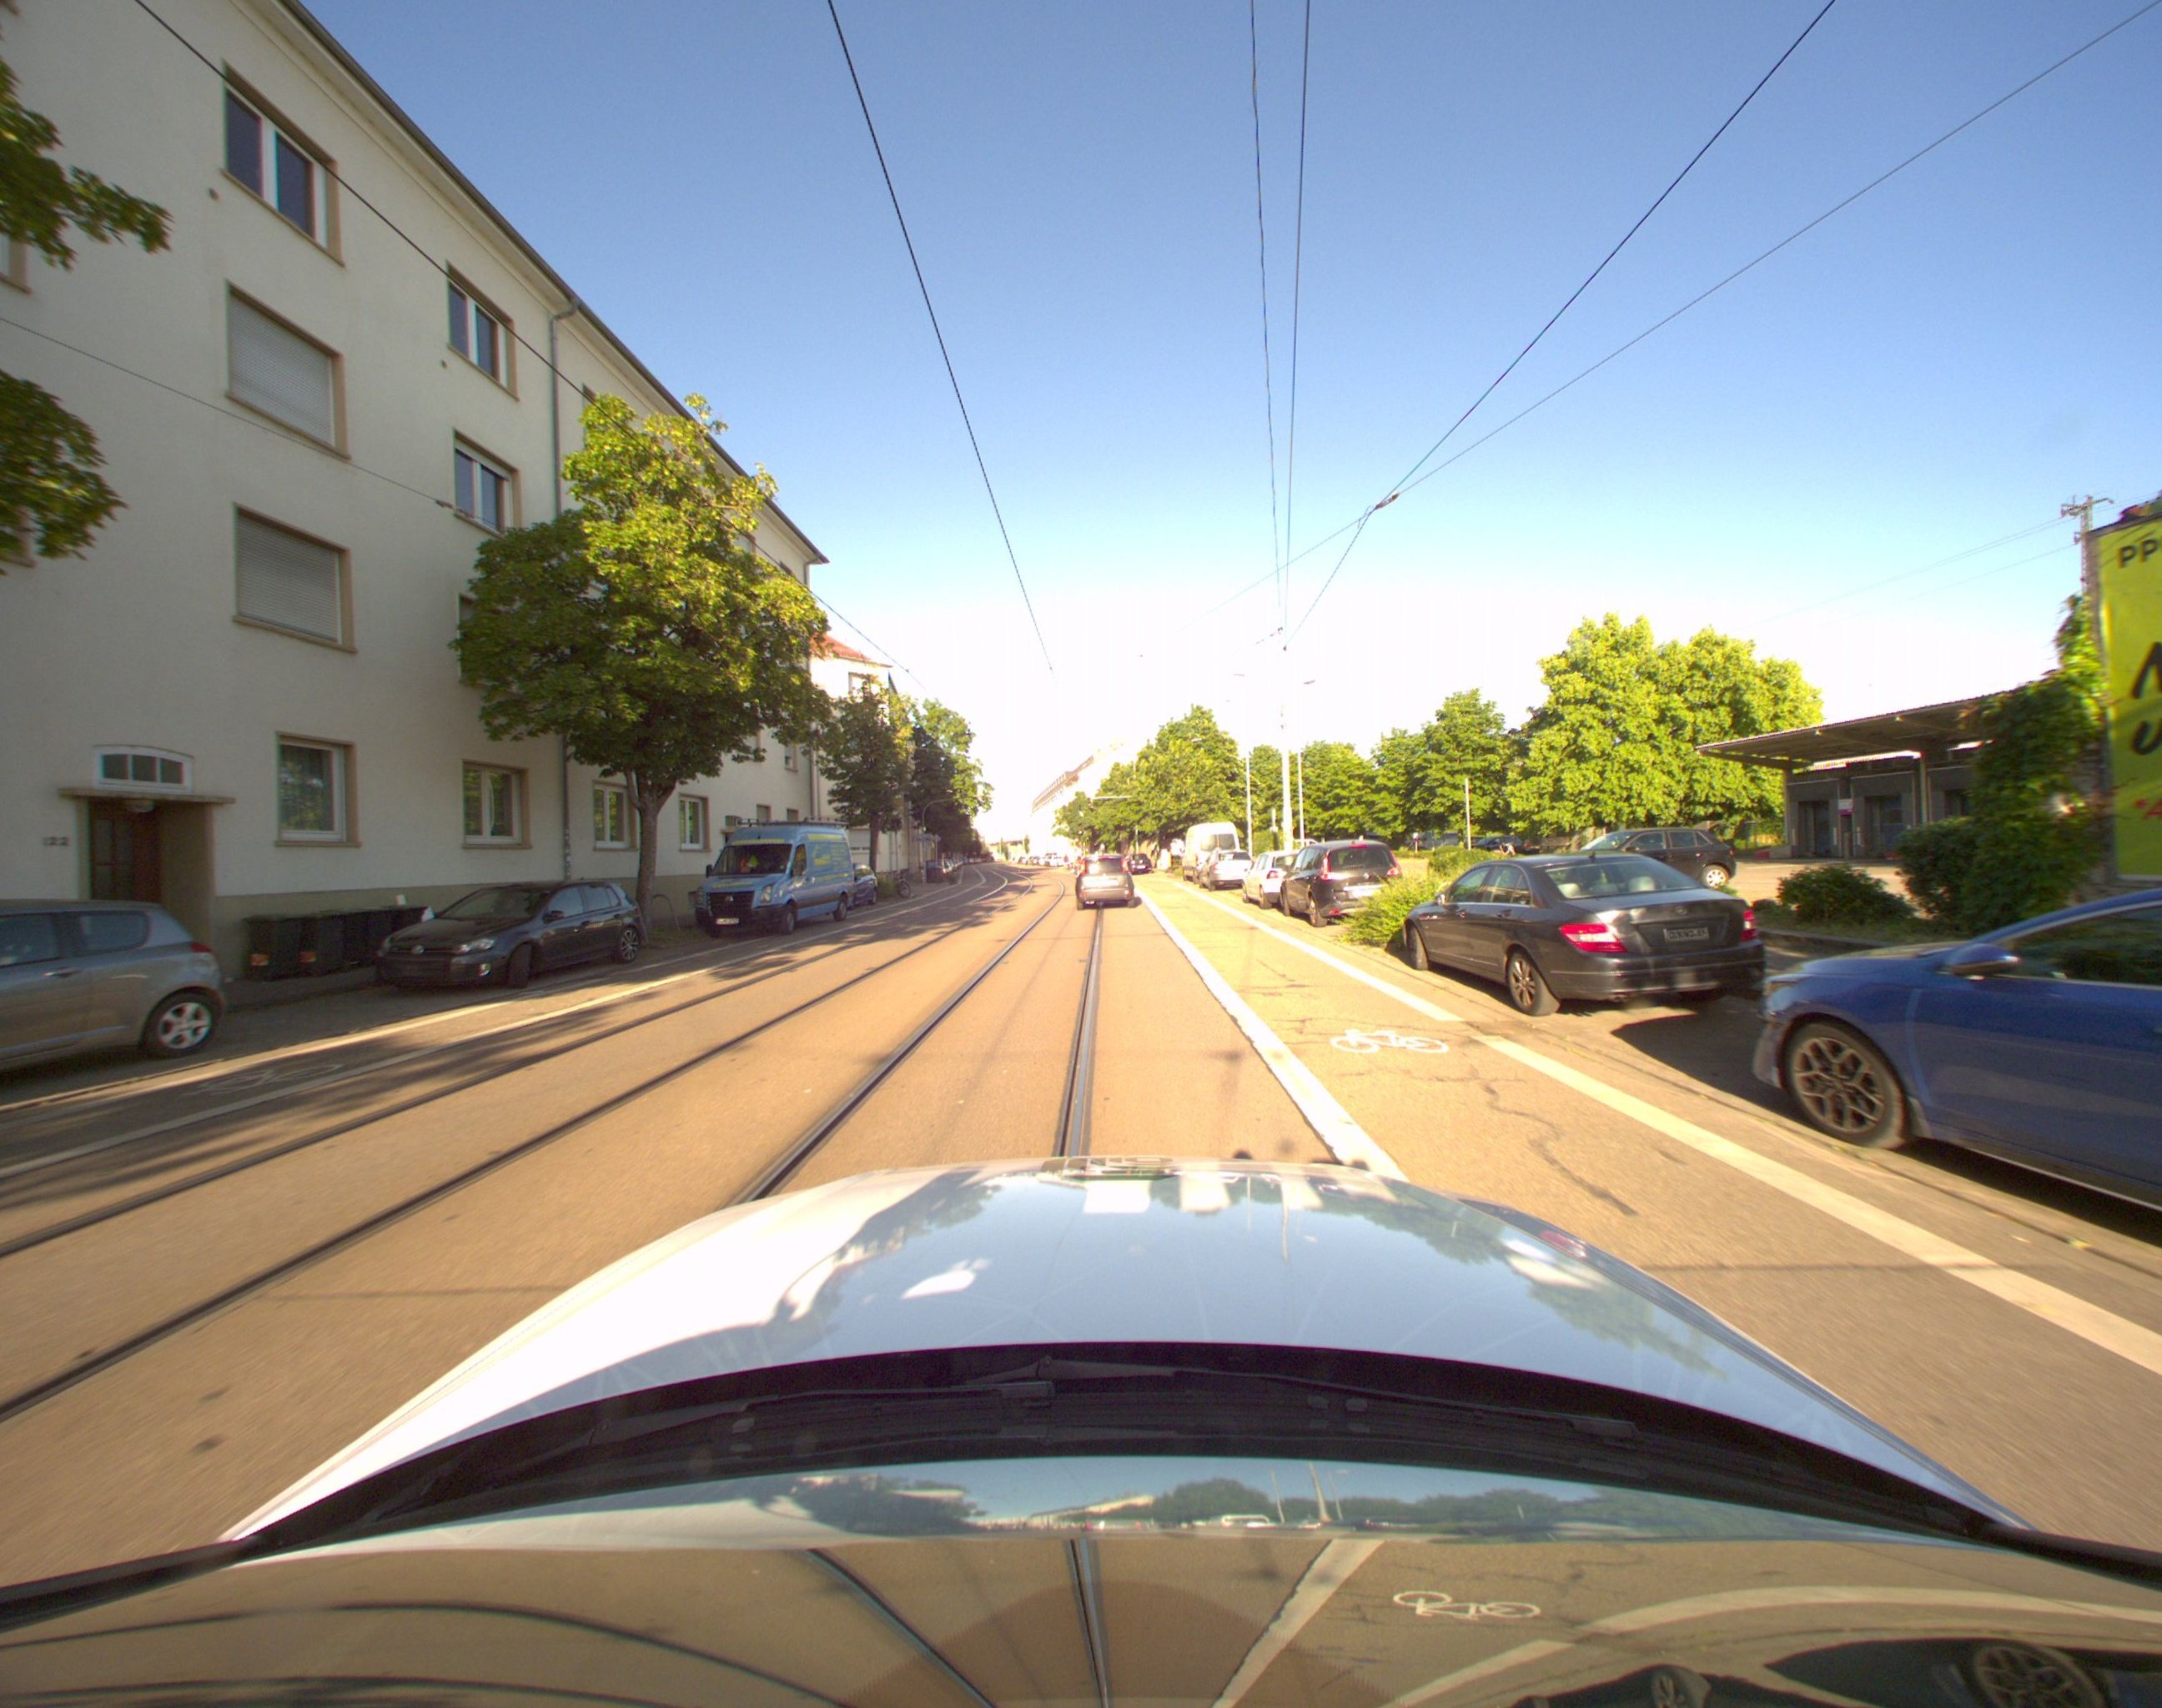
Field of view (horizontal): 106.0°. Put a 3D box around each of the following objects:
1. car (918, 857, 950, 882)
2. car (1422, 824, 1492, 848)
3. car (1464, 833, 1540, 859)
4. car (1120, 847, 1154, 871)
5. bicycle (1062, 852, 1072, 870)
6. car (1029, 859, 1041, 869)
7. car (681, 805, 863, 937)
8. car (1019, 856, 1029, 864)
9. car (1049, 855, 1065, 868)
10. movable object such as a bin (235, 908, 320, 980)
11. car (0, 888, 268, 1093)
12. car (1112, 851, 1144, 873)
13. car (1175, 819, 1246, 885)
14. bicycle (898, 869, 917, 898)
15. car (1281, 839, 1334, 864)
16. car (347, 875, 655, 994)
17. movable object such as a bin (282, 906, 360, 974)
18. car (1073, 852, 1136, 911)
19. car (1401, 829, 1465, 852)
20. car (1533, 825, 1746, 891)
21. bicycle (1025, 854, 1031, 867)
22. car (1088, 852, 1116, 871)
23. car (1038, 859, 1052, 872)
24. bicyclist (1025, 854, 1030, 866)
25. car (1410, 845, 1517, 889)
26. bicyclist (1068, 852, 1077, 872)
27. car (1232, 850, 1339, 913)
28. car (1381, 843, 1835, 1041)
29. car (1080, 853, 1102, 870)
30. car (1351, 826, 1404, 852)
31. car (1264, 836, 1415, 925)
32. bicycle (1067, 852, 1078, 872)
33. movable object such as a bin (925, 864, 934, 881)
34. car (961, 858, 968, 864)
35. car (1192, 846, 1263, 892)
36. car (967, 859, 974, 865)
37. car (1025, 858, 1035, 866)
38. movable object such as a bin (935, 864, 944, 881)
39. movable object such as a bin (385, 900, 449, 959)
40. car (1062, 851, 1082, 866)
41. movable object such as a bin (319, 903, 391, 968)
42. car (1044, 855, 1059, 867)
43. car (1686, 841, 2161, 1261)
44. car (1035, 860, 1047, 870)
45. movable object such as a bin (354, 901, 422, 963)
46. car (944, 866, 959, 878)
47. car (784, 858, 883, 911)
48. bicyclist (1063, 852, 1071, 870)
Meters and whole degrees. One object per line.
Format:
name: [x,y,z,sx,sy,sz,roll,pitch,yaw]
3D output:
car: [-9.749,1.010,54.196,1.686,1.530,3.993,-1,0,-5]
car: [29.765,-1.386,64.546,4.678,1.816,1.957,-1,0,-7]
car: [30.899,-0.597,59.879,4.678,1.816,1.957,-1,0,-7]
car: [3.892,0.322,57.082,1.686,1.530,3.993,-3,0,-5]
bicycle: [-1.443,0.728,83.182,0.675,1.747,2.151,-1,0,-9]
car: [-7.831,1.670,137.009,1.583,1.405,3.366,-5,0,-9]
car: [-7.481,0.392,20.615,2.009,2.826,6.036,-1,0,3]
car: [-11.267,1.153,161.129,1.582,1.599,3.366,-1,0,-9]
car: [-3.162,0.951,106.481,1.655,1.571,3.488,-1,0,-9]
movable object such as a bin: [-11.407,1.266,11.576,0.594,0.934,0.568,-2,0,-1]
car: [-9.095,1.091,6.226,1.645,1.491,4.002,-1,0,2]
car: [3.506,0.610,61.454,1.686,1.530,4.347,-3,0,-5]
car: [5.885,-0.065,37.783,2.173,2.665,6.090,-4,0,0]
bicycle: [-7.047,1.181,33.164,0.511,1.134,2.027,-1,0,-5]
car: [20.863,-0.258,75.009,4.272,2.013,1.771,-3,0,-5]
car: [-8.602,1.102,12.634,1.645,1.425,4.192,-1,0,2]
movable object such as a bin: [-11.341,1.268,12.170,0.594,0.934,0.568,-2,0,-1]
car: [0.685,0.738,23.815,1.644,1.541,4.236,-2,0,2]
car: [29.747,-1.141,68.920,4.678,1.816,1.957,-1,0,-7]
car: [12.667,0.098,18.644,3.690,1.400,1.759,-1,0,0]
bicycle: [-8.434,1.002,129.406,0.741,2.014,2.803,-1,0,-9]
car: [1.894,0.692,73.632,1.689,1.530,3.985,-3,0,-11]
car: [-5.457,1.677,122.365,1.655,1.944,4.650,-1,0,-9]
bicyclist: [-8.464,0.969,129.612,0.715,2.014,0.829,-1,-1,-9]
car: [9.657,0.314,20.772,1.304,1.033,3.057,-1,0,1]
bicyclist: [-0.792,0.711,73.770,0.699,1.759,0.755,-1,-1,-9]
car: [5.355,0.681,21.878,1.723,1.512,4.250,-1,0,-1]
car: [4.814,0.671,8.403,1.723,1.464,4.496,-1,0,-1]
car: [0.904,0.743,78.712,1.686,1.530,3.993,-3,0,-5]
car: [28.026,-1.425,77.117,4.188,2.241,2.136,-2,0,-11]
car: [5.225,0.494,17.088,1.723,1.604,4.340,-1,0,-1]
bicycle: [-0.770,0.699,73.666,0.675,1.747,2.151,-1,0,-9]
movable object such as a bin: [-9.154,1.104,49.326,0.484,0.987,0.658,-1,-1,-6]
car: [-27.794,1.629,194.673,1.705,1.497,3.712,-1,0,-7]
car: [5.495,0.534,31.078,1.904,1.529,4.601,-2,0,1]
car: [-28.611,2.051,210.194,1.705,1.497,3.712,-1,0,-7]
car: [-9.357,1.497,148.710,1.582,1.405,3.366,-1,0,-9]
movable object such as a bin: [-8.612,1.117,49.441,0.484,0.987,0.658,-1,-1,-6]
movable object such as a bin: [-11.379,1.277,13.975,0.594,0.934,0.568,-2,0,-1]
car: [-0.981,0.503,88.455,1.634,1.508,3.387,-4,0,-8]
movable object such as a bin: [-11.364,1.271,12.763,0.594,0.934,0.568,-2,0,-1]
car: [-4.008,1.007,110.791,1.655,1.571,3.864,-1,0,-9]
car: [4.625,0.676,2.864,1.723,1.464,4.339,-1,0,-1]
car: [-6.285,1.736,127.394,1.655,1.500,3.120,-1,0,-9]
movable object such as a bin: [-11.363,1.274,13.373,0.594,0.934,0.568,-2,0,-1]
car: [-16.521,2.283,103.889,1.808,1.508,4.667,-1,0,-8]
car: [-8.370,0.970,28.007,1.784,1.560,4.643,3,0,1]
bicyclist: [-1.429,0.724,83.134,0.699,1.759,0.755,-1,-1,-9]
